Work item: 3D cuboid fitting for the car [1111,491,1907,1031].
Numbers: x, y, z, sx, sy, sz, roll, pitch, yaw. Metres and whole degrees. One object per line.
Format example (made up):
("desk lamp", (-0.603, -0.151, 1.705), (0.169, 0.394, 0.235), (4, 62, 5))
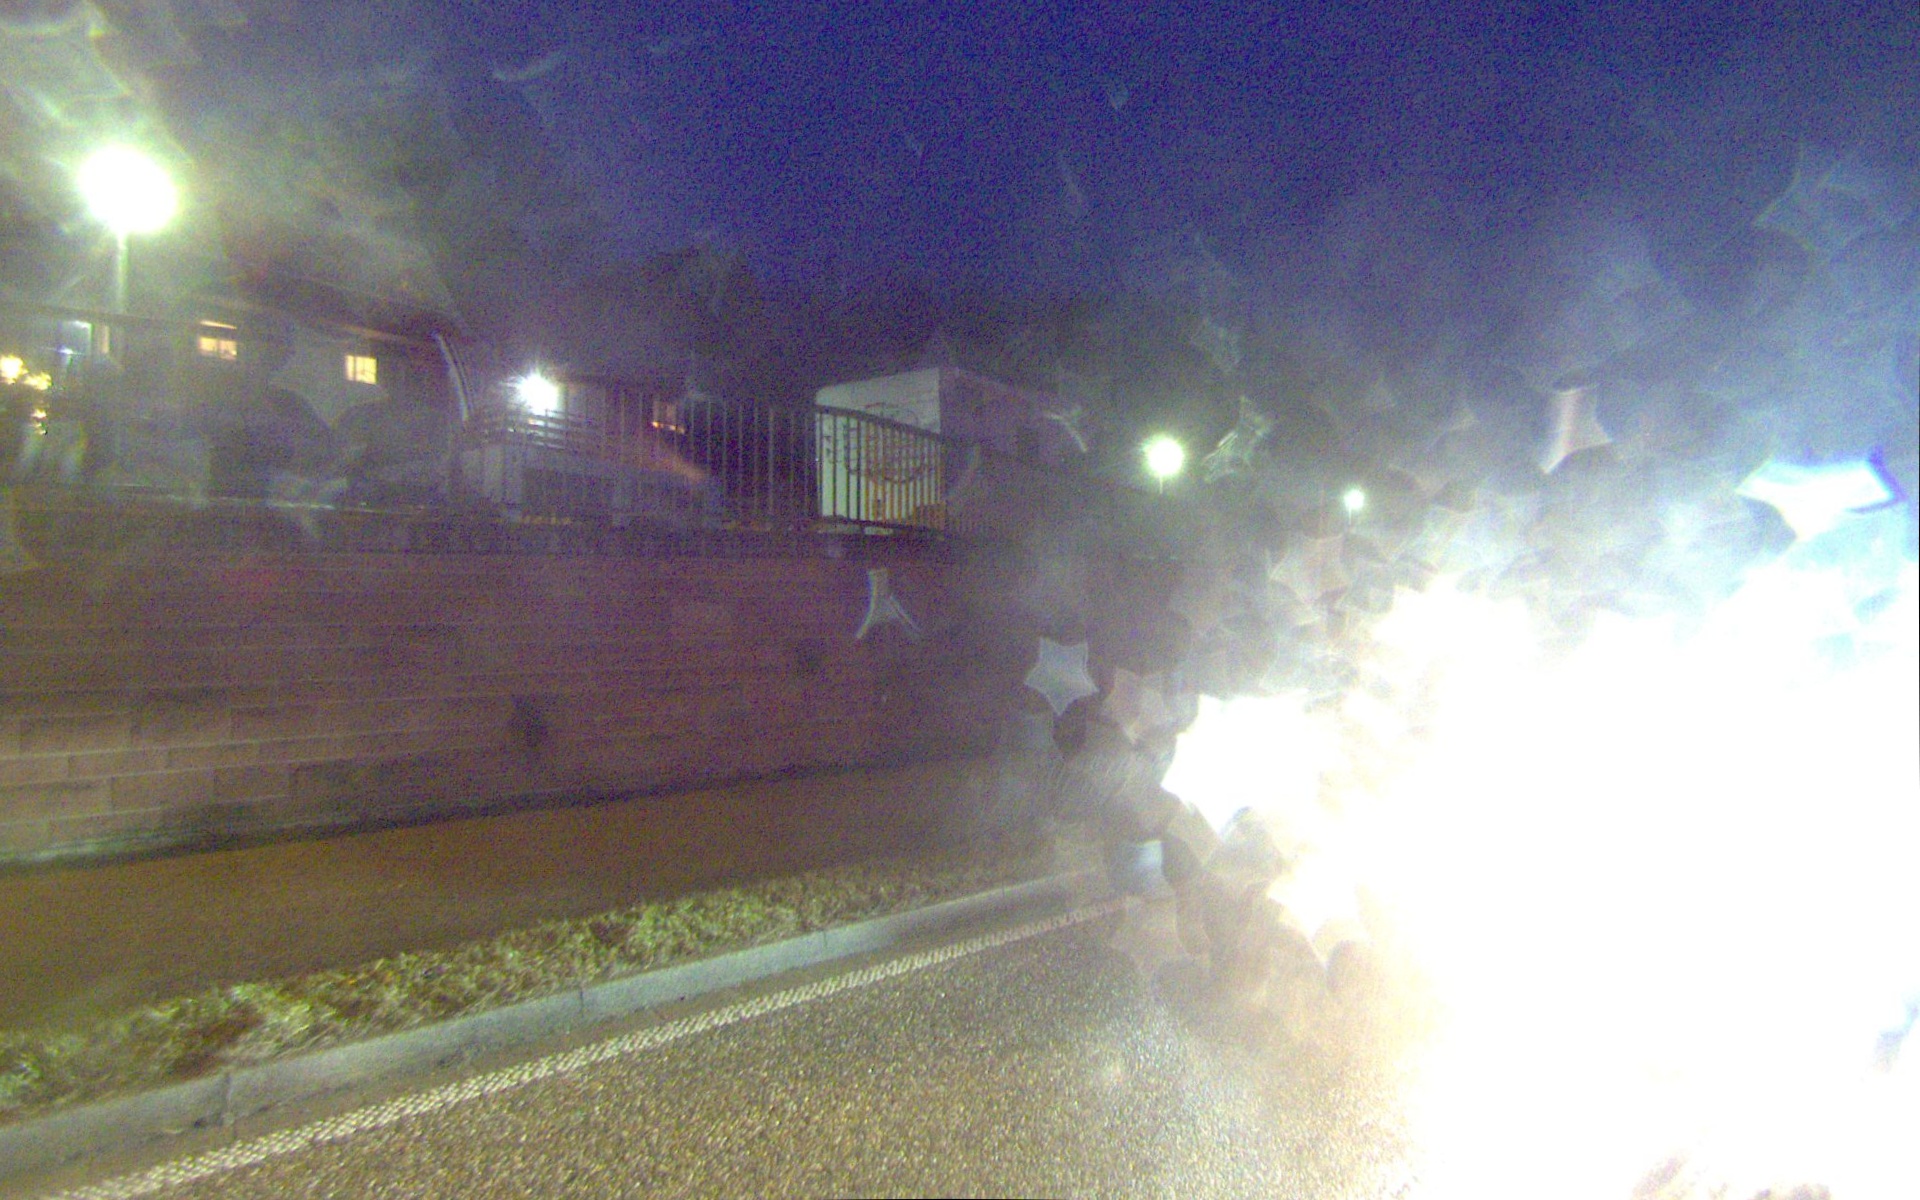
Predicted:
("car", (3.220, 0.494, 5.463), (4.848, 1.757, 1.840), (-1, 0, -36))

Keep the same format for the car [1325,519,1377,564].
("car", (19.256, -2.845, 49.781), (1.721, 2.039, 3.658), (0, 0, 32))

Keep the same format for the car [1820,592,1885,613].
("car", (91.117, 0.221, 103.353), (2.048, 2.039, 4.722), (0, 1, -9))

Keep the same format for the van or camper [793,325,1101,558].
("van or camper", (0.076, -2.184, 16.243), (2.395, 2.828, 5.712), (0, 0, 30))

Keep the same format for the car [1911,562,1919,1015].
("car", (5.588, 0.644, 4.299), (4.278, 1.602, 1.825), (-1, 0, -41))

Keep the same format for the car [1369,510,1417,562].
("car", (25.166, -3.651, 58.747), (1.922, 2.809, 4.206), (0, 0, 32))

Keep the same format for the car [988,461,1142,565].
("car", (2.507, -1.888, 23.291), (1.985, 2.039, 3.954), (0, 0, 32))

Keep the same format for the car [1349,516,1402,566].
("car", (22.284, -3.109, 54.239), (1.922, 2.451, 4.206), (0, 0, 32))
